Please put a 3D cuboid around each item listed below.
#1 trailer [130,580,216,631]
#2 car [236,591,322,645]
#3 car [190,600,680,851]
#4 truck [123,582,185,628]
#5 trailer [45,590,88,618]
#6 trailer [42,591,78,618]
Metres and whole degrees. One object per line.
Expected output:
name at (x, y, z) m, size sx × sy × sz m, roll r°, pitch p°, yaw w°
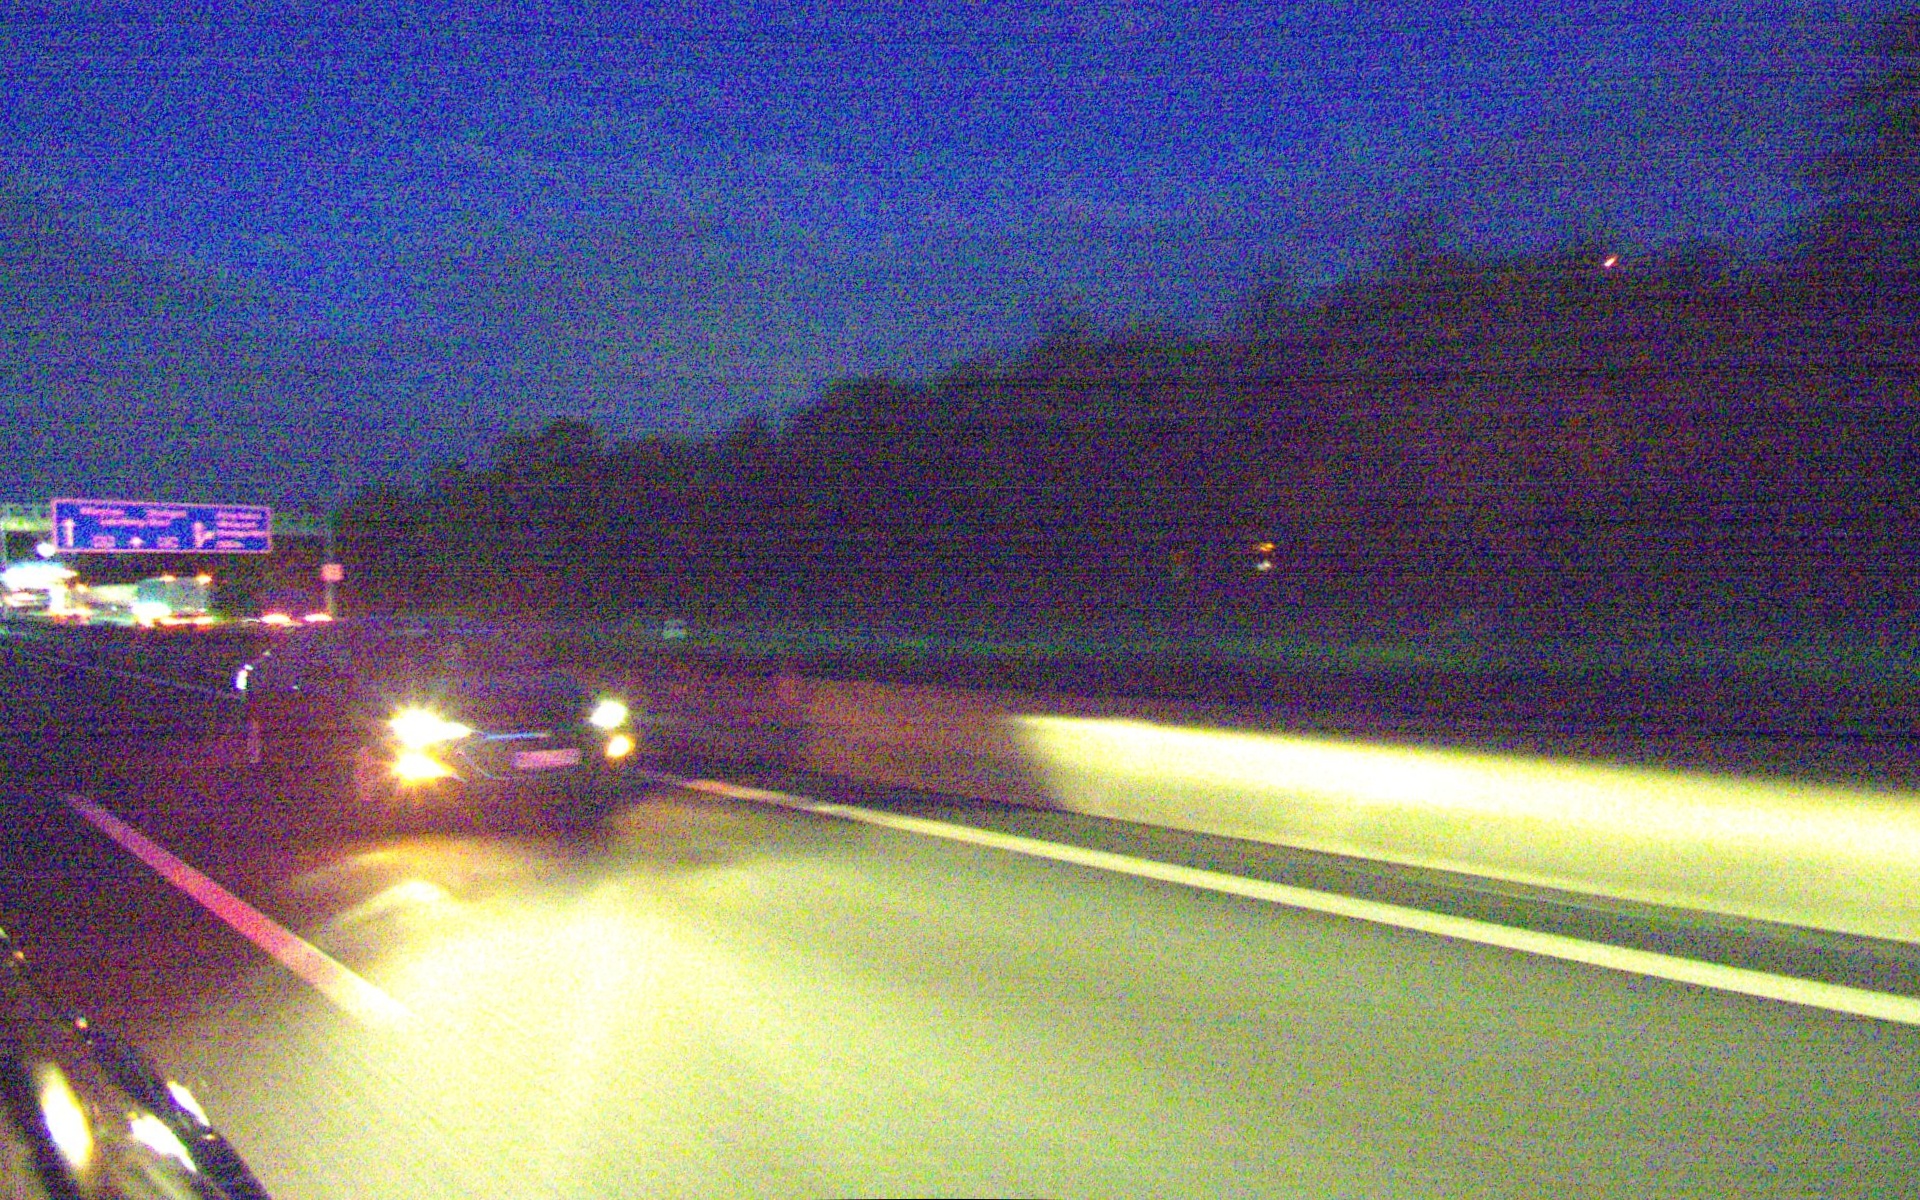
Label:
trailer at (-67.367, 0.465, 86.416) m, size 13.807 × 4.010 × 3.394 m, roll -1°, pitch 0°, yaw 42°
car at (-33.973, 0.909, 50.384) m, size 6.213 × 2.537 × 2.079 m, roll -1°, pitch -1°, yaw 41°
car at (-4.902, 0.848, 8.896) m, size 5.649 × 1.530 × 1.972 m, roll -2°, pitch -1°, yaw 42°
truck at (-72.571, 0.481, 91.067) m, size 6.205 × 4.010 × 3.394 m, roll -1°, pitch 0°, yaw 42°
trailer at (-130.153, 0.591, 147.306) m, size 14.048 × 4.010 × 3.393 m, roll -1°, pitch 0°, yaw 43°
trailer at (-135.529, 0.642, 152.306) m, size 7.352 × 4.010 × 3.393 m, roll -1°, pitch 0°, yaw 43°
